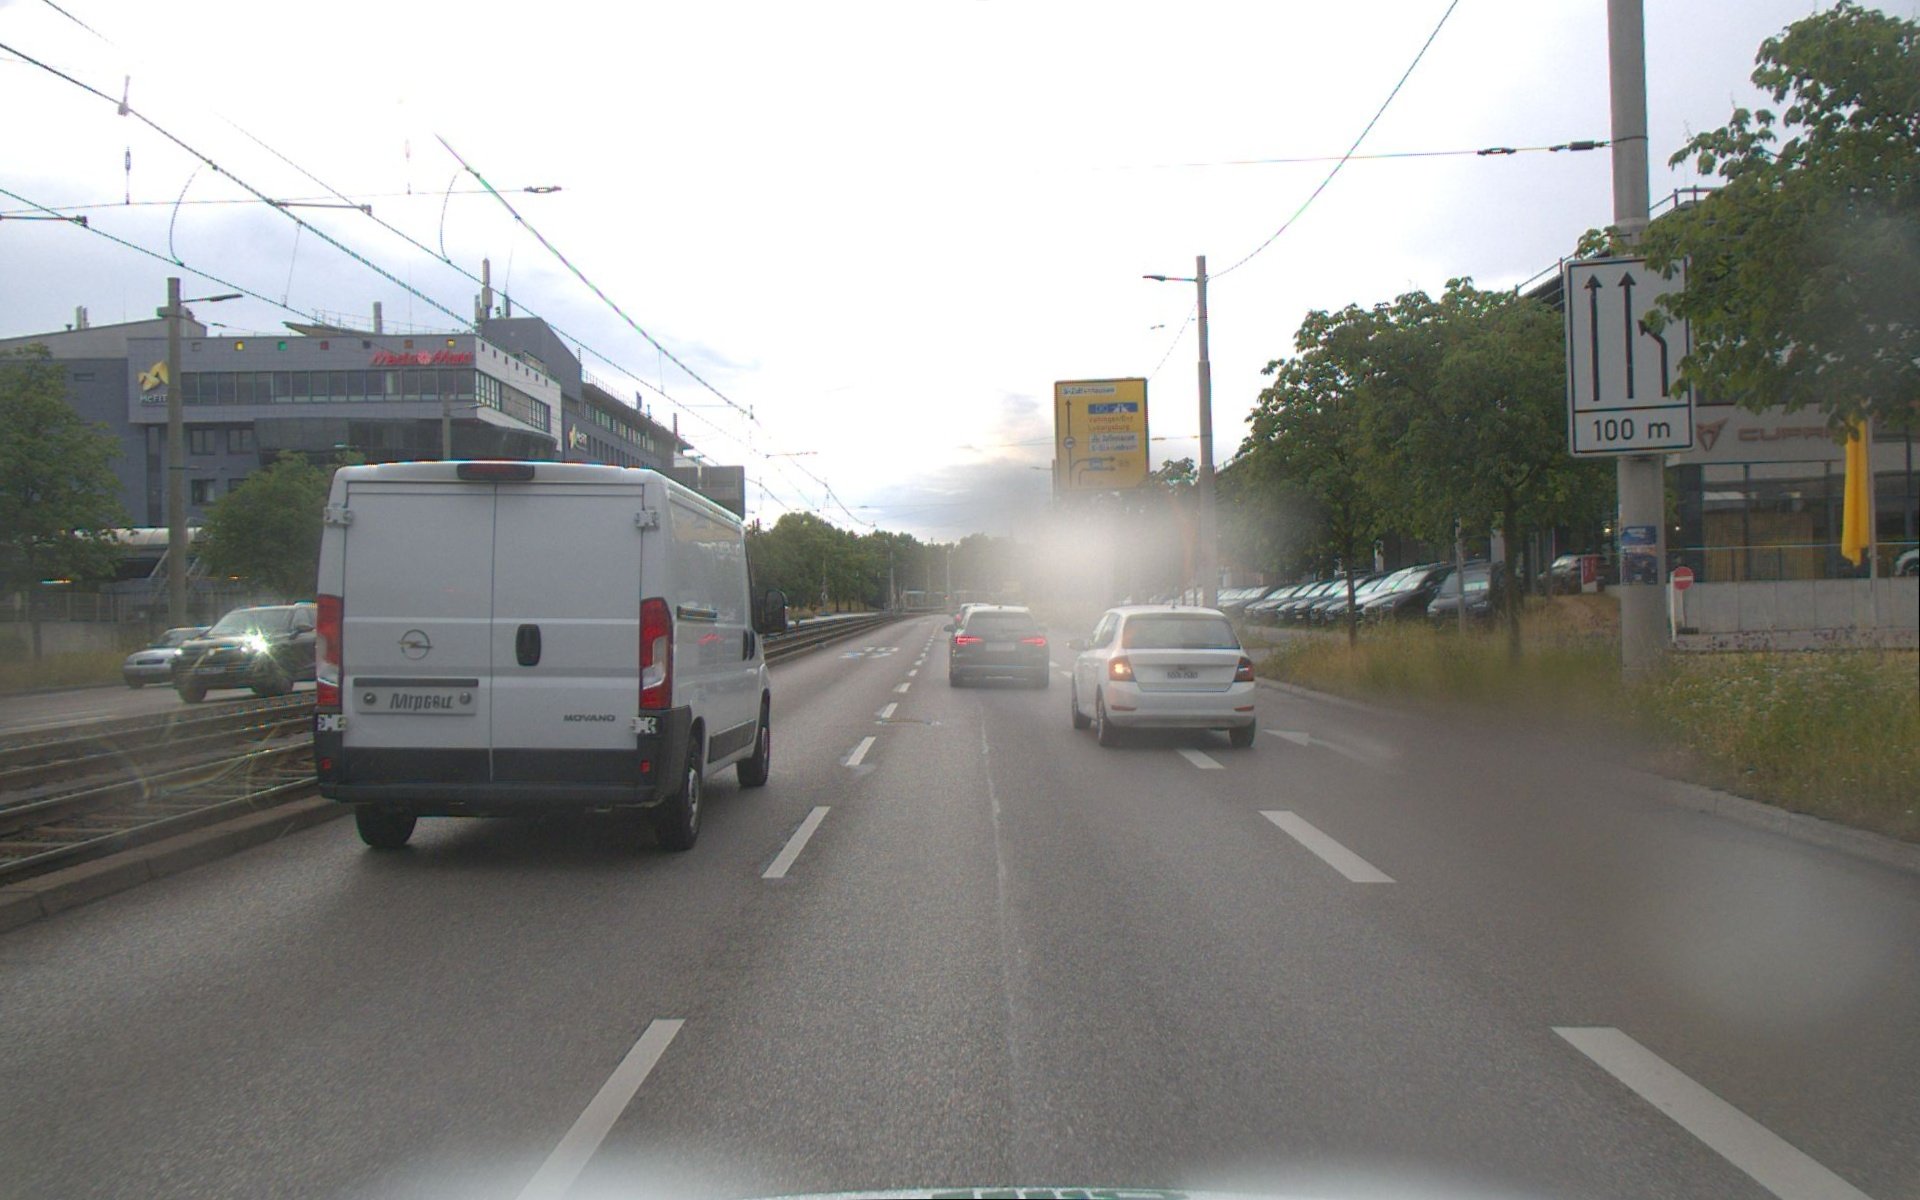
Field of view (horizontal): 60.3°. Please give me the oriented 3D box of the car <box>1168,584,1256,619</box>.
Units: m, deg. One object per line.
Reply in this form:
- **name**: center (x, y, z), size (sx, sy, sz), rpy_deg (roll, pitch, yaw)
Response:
- **car**: center (13.118, 0.069, 86.143), size (4.084, 1.597, 1.895), rpy_deg (-3, 0, -24)

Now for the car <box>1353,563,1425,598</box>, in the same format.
- **car**: center (26.889, -1.216, 103.678), size (3.945, 2.010, 1.944), rpy_deg (-2, 0, -1)

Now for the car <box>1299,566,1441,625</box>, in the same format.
- **car**: center (14.246, -0.149, 57.582), size (4.407, 1.782, 1.816), rpy_deg (-3, 0, -12)

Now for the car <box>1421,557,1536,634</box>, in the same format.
- **car**: center (14.471, -0.156, 46.037), size (1.840, 1.847, 4.379), rpy_deg (-3, 1, 33)

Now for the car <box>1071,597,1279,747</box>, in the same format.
- **car**: center (2.286, 0.724, 18.455), size (1.711, 1.483, 3.669), rpy_deg (1, 0, -2)

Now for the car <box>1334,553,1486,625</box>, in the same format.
- **car**: center (14.333, -0.355, 52.684), size (4.421, 2.026, 1.810), rpy_deg (-3, 0, -21)

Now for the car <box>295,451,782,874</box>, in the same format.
- **car**: center (-2.543, 0.327, 11.455), size (2.048, 2.235, 5.060), rpy_deg (1, 0, 0)

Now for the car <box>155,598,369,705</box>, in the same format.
- **car**: center (-12.648, 0.868, 30.292), size (1.869, 1.685, 4.362), rpy_deg (-3, 0, 2)

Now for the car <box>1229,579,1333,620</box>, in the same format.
- **car**: center (13.702, -0.016, 70.634), size (3.973, 1.528, 1.682), rpy_deg (-3, 0, -12)

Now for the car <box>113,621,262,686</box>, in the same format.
- **car**: center (-19.152, 1.289, 41.193), size (1.711, 1.424, 4.001), rpy_deg (1, 1, 2)

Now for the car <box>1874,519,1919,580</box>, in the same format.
- **car**: center (27.824, -1.427, 45.563), size (1.822, 1.672, 4.267), rpy_deg (-2, 1, -33)

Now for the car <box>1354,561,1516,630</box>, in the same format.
- **car**: center (14.295, -0.143, 49.852), size (4.303, 1.821, 1.872), rpy_deg (-3, 0, -15)

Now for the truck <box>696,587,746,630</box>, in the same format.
- **truck**: center (-15.732, 0.549, 109.382), size (2.193, 2.609, 7.014), rpy_deg (-3, 0, 0)

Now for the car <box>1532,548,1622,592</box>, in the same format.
- **car**: center (22.592, -1.090, 60.708), size (1.743, 1.498, 3.898), rpy_deg (-2, 0, -1)

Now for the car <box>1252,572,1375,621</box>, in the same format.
- **car**: center (14.072, -0.117, 65.884), size (4.407, 1.692, 1.816), rpy_deg (-3, 0, -12)

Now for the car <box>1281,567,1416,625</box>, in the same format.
- **car**: center (14.190, -0.138, 60.465), size (4.407, 1.827, 1.816), rpy_deg (-3, 0, -12)

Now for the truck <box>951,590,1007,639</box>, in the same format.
- **truck**: center (0.730, 0.549, 65.467), size (1.953, 1.822, 4.412), rpy_deg (-2, 0, -2)

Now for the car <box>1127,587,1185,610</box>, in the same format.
- **car**: center (14.455, -0.116, 121.949), size (4.050, 1.491, 1.728), rpy_deg (-3, -1, -33)

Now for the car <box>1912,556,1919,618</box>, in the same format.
- **car**: center (22.067, -0.284, 35.327), size (1.363, 1.361, 3.488), rpy_deg (1, 0, -2)

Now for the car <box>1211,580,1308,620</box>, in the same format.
- **car**: center (13.664, 0.004, 75.499), size (3.985, 1.603, 1.722), rpy_deg (-3, 0, -20)

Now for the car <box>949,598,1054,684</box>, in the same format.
- **car**: center (0.700, 0.694, 30.322), size (1.753, 1.474, 3.999), rpy_deg (0, 0, -1)

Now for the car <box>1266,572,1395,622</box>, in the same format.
- **car**: center (14.175, -0.126, 63.386), size (4.404, 1.647, 1.817), rpy_deg (-3, 0, -10)
